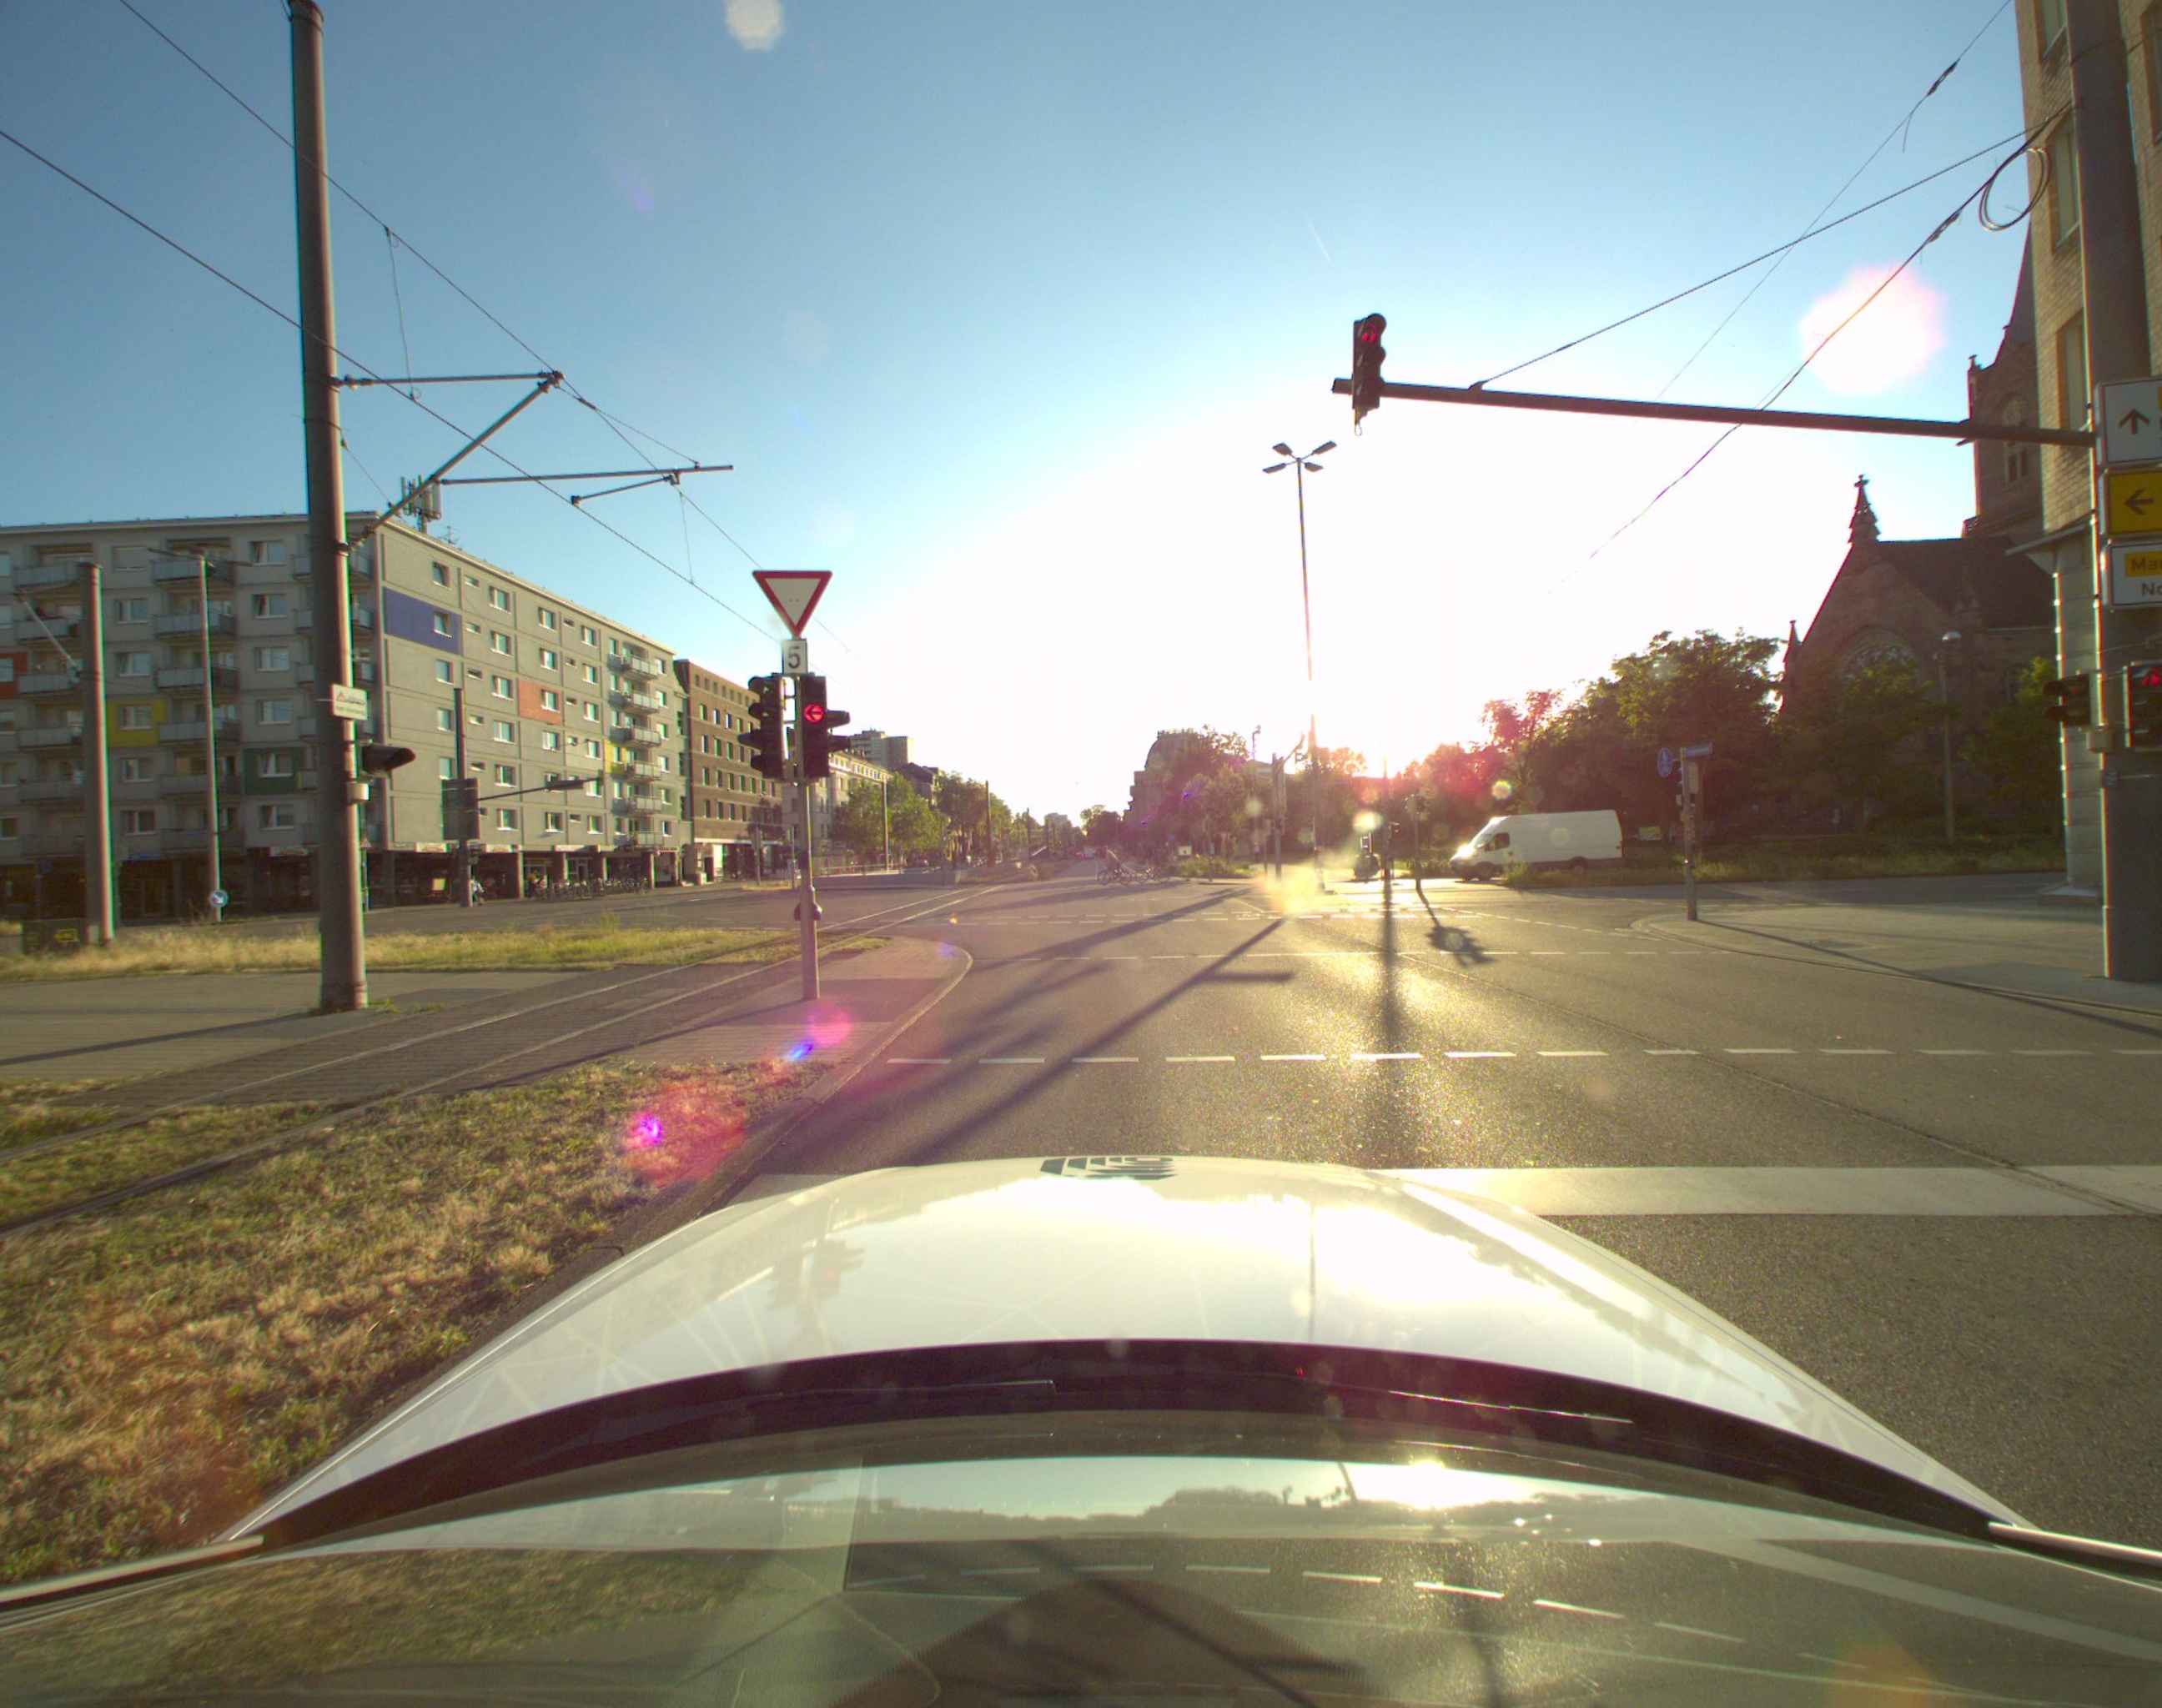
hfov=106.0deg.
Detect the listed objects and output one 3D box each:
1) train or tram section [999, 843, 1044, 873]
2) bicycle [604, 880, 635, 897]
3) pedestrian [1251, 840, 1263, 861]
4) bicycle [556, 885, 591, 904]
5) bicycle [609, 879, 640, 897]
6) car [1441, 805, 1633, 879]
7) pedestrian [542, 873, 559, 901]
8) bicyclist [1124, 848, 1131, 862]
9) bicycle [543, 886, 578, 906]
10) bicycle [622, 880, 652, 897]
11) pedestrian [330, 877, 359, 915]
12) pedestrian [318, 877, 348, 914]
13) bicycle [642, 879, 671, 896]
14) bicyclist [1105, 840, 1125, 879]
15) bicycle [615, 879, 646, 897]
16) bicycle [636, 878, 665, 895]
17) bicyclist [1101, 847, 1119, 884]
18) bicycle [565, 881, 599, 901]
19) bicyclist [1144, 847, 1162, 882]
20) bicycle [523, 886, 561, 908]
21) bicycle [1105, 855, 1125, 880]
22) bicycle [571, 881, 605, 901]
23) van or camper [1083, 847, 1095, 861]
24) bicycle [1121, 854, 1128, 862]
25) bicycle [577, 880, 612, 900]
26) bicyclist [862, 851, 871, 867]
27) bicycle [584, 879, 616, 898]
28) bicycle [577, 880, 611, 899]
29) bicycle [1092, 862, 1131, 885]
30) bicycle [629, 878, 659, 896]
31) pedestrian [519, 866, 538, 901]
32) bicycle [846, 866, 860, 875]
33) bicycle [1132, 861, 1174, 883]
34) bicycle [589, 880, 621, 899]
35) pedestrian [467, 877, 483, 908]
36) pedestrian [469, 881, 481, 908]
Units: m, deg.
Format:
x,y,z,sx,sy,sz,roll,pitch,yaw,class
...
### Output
x,y,z,sx,sy,sz,roll,pitch,yaw,class
-8.676,0.482,120.805,4.363,3.849,11.433,-2,2,7,train or tram section
-31.156,2.332,54.967,1.748,1.117,0.552,-2,0,2,bicycle
15.147,-0.301,70.152,0.826,1.803,0.814,-2,0,17,pedestrian
-31.459,2.510,50.474,1.750,1.139,0.600,-2,0,2,bicycle
-31.118,2.333,55.553,1.754,1.119,0.568,-2,0,2,bicycle
19.582,-0.501,35.205,6.981,2.827,2.095,-2,0,3,car
-32.950,2.038,50.587,0.576,1.684,0.548,-2,0,8,pedestrian
6.590,0.131,116.607,0.922,2.013,0.851,-2,0,1,bicyclist
-31.873,2.595,49.872,1.770,1.142,0.608,-2,0,1,bicycle
-30.987,2.398,56.877,1.683,1.153,0.706,-2,0,3,bicycle
-37.341,2.113,41.298,0.785,1.841,0.733,-2,0,-7,pedestrian
-38.283,2.106,41.683,0.826,1.812,0.718,-2,0,-9,pedestrian
-30.804,2.405,59.136,1.683,1.144,0.697,-2,0,3,bicycle
1.982,0.327,47.966,1.078,2.276,0.986,-2,0,1,bicyclist
-31.079,2.346,56.185,1.719,1.124,0.634,-2,-1,3,bicycle
-30.857,2.321,58.405,1.683,1.170,0.749,-2,0,3,bicycle
1.436,0.567,40.369,0.789,1.818,0.646,-2,0,2,bicyclist
-31.275,2.322,51.046,1.759,1.167,0.540,-2,0,2,bicycle
3.802,0.547,42.869,0.872,1.818,0.538,-2,0,2,bicyclist
-32.284,2.569,48.793,1.788,1.208,0.638,-2,0,0,bicycle
1.988,0.762,47.995,1.094,1.399,2.833,-2,0,2,bicycle
-31.245,2.316,51.641,1.762,1.182,0.568,-2,0,1,bicycle
1.630,-0.080,168.755,2.441,2.770,5.600,-2,0,0,van or camper
6.188,0.600,116.582,0.921,1.111,2.334,-2,0,2,bicycle
-31.233,2.321,52.294,1.782,1.191,0.652,-2,0,1,bicycle
-28.491,0.688,108.263,0.793,2.013,0.924,-2,0,4,bicyclist
-31.752,2.263,53.779,1.769,1.159,0.606,-2,0,1,bicycle
-31.761,2.304,53.099,1.824,1.160,0.640,-2,0,1,bicycle
1.516,0.968,40.375,1.893,1.075,0.633,-2,0,2,bicycle
-30.922,2.359,57.630,1.683,1.179,0.749,-2,0,3,bicycle
-34.432,1.825,50.764,0.599,2.178,0.792,-2,0,1,pedestrian
-25.987,1.852,92.687,0.503,0.944,1.678,-2,0,26,bicycle
3.770,0.928,42.868,2.155,1.083,0.539,-2,-1,2,bicycle
-31.778,2.366,54.407,1.764,1.136,0.606,-2,0,2,bicycle
-32.466,2.056,43.645,0.575,1.620,0.598,-2,0,-29,pedestrian
-32.824,2.193,44.115,0.383,1.383,0.392,-2,0,-26,pedestrian
